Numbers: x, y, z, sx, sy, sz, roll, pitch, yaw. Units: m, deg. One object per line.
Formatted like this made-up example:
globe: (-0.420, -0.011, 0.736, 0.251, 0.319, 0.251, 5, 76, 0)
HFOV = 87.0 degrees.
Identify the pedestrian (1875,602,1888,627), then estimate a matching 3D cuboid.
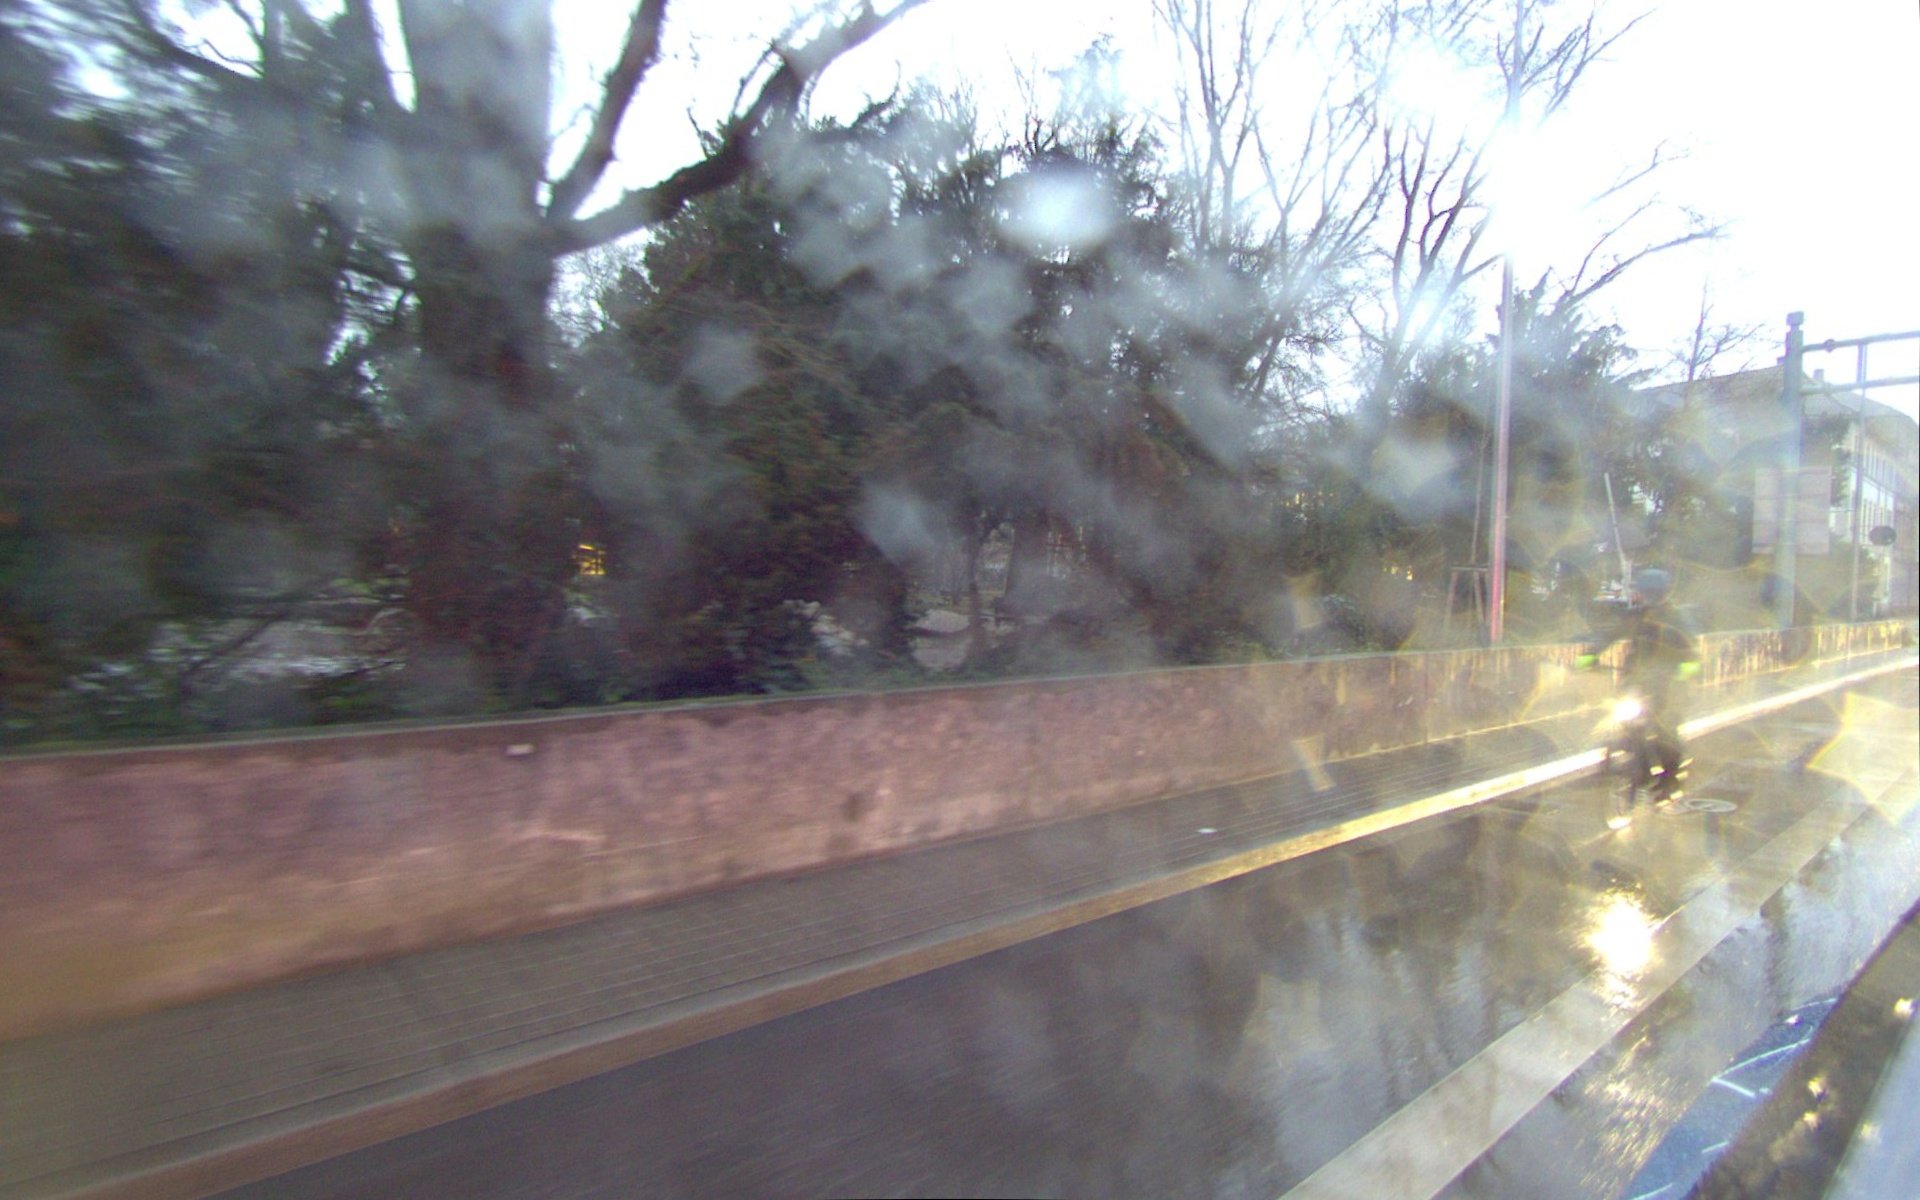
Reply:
pedestrian: (58.396, 0.901, 64.140, 0.577, 1.529, 0.520, 1, 2, -41)

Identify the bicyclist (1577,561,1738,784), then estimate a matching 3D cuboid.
bicyclist: (4.763, 0.449, 6.911, 0.874, 1.406, 0.647, 0, 1, -38)

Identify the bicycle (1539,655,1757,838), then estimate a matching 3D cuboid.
bicycle: (4.759, 0.927, 6.939, 2.009, 0.978, 0.647, 0, 2, -39)
